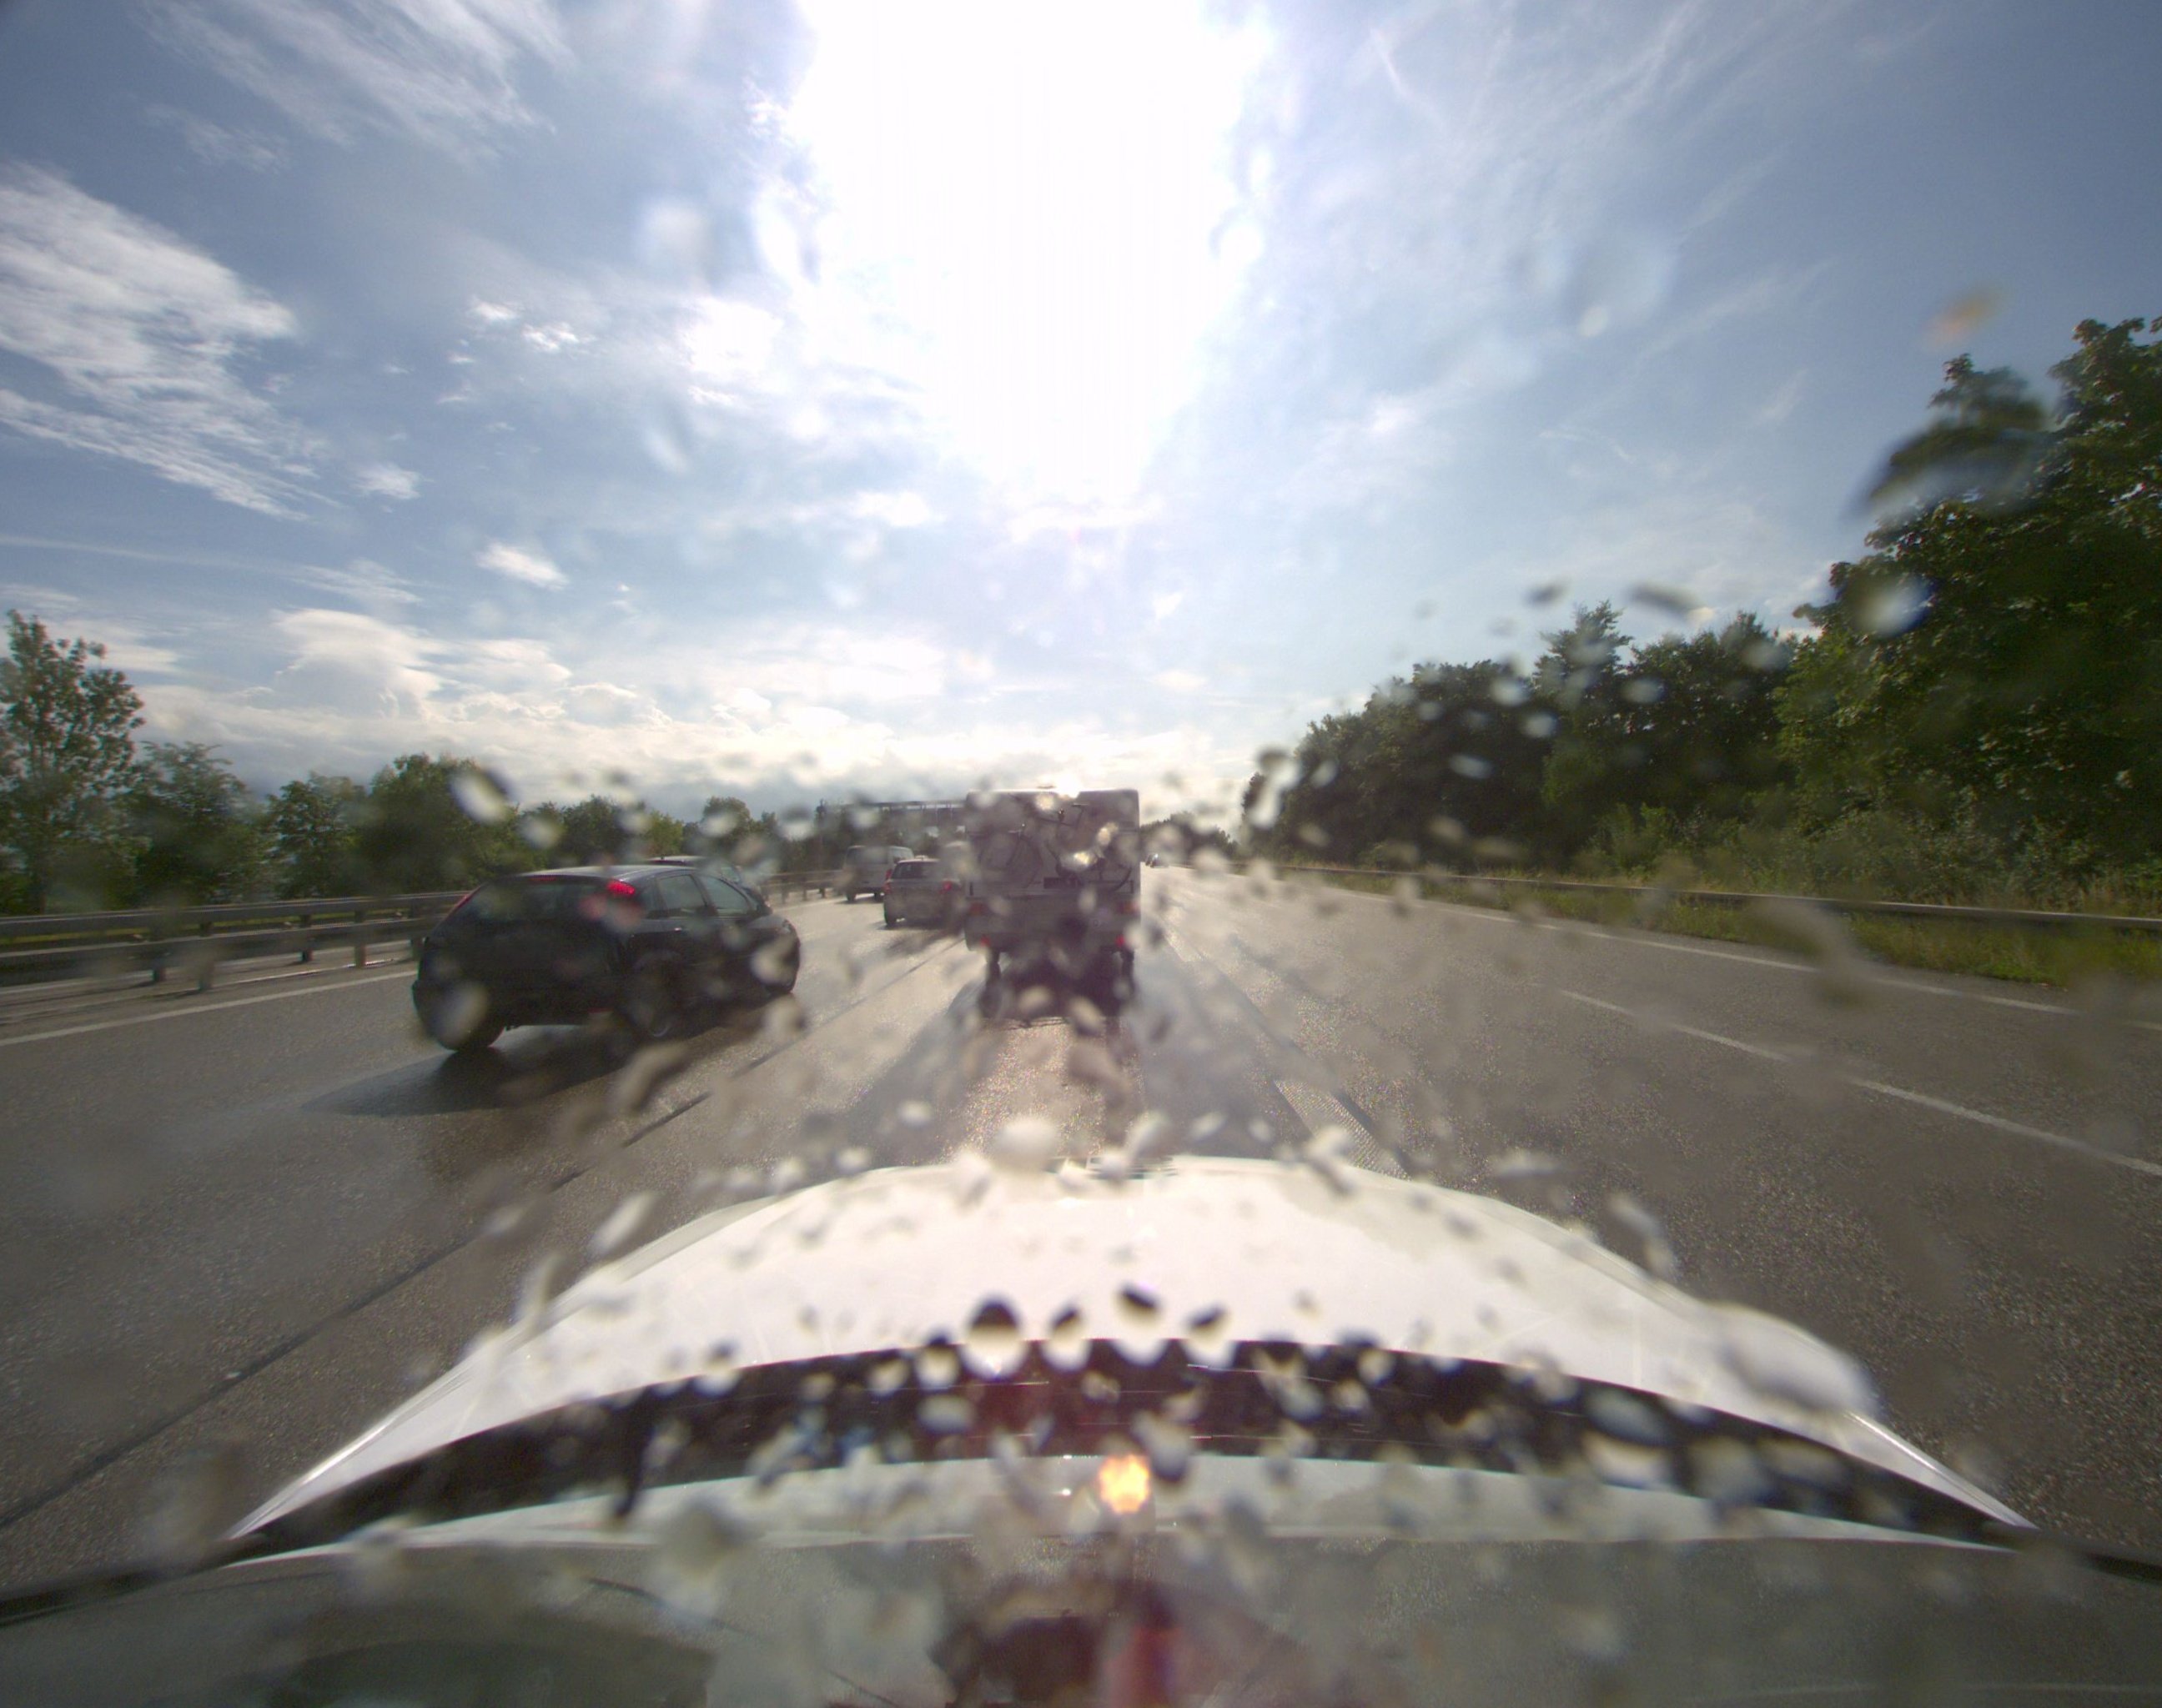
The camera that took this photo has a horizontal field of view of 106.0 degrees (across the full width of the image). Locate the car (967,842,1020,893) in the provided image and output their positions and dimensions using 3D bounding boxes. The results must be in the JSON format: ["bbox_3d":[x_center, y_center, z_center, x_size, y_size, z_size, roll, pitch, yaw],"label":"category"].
[{"bbox_3d":[-3.648,0.543,34.694,1.871,2.014,3.998,0,0,-1],"label":"car"}]

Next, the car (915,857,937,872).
[{"bbox_3d":[-20.547,1.378,108.176,1.987,2.013,4.362,-1,0,0],"label":"car"}]

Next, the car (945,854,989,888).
[{"bbox_3d":[-5.864,0.855,42.282,1.766,1.662,3.998,0,0,-1],"label":"car"}]

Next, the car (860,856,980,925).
[{"bbox_3d":[-3.739,0.798,19.661,1.980,1.458,3.828,-1,0,2],"label":"car"}]

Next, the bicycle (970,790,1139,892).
[{"bbox_3d":[-0.292,-0.143,9.499,1.926,1.141,0.384,-1,-1,2],"label":"bicycle"}]

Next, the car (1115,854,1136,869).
[{"bbox_3d":[5.005,0.851,91.565,1.832,1.558,3.993,0,0,-5],"label":"car"}]

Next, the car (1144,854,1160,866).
[{"bbox_3d":[9.855,0.865,112.694,1.870,1.629,4.000,-1,0,1],"label":"car"}]

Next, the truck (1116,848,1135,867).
[{"bbox_3d":[5.821,0.407,108.024,2.406,2.443,6.056,-1,0,2],"label":"truck"}]

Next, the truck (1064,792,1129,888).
[{"bbox_3d":[0.829,-0.674,45.254,3.135,4.626,10.735,-1,0,1],"label":"truck"}]

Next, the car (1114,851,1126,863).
[{"bbox_3d":[5.741,0.442,121.204,1.713,1.684,4.002,-1,0,2],"label":"car"}]

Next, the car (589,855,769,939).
[{"bbox_3d":[-8.408,0.822,17.470,1.776,1.578,3.918,-1,0,2],"label":"car"}]

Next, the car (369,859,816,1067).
[{"bbox_3d":[-4.159,0.798,7.839,1.752,1.443,4.002,-1,0,2],"label":"car"}]

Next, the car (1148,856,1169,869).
[{"bbox_3d":[9.035,0.968,94.763,1.872,1.494,3.996,0,0,-2],"label":"car"}]

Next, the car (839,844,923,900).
[{"bbox_3d":[-7.428,0.630,30.800,1.841,1.934,5.017,-1,0,1],"label":"car"}]

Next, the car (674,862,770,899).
[{"bbox_3d":[-14.974,1.066,34.251,1.860,1.354,4.496,-1,0,2],"label":"car"}]

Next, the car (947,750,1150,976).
[{"bbox_3d":[-0.309,0.126,11.703,2.401,2.674,4.002,-1,0,2],"label":"car"}]
